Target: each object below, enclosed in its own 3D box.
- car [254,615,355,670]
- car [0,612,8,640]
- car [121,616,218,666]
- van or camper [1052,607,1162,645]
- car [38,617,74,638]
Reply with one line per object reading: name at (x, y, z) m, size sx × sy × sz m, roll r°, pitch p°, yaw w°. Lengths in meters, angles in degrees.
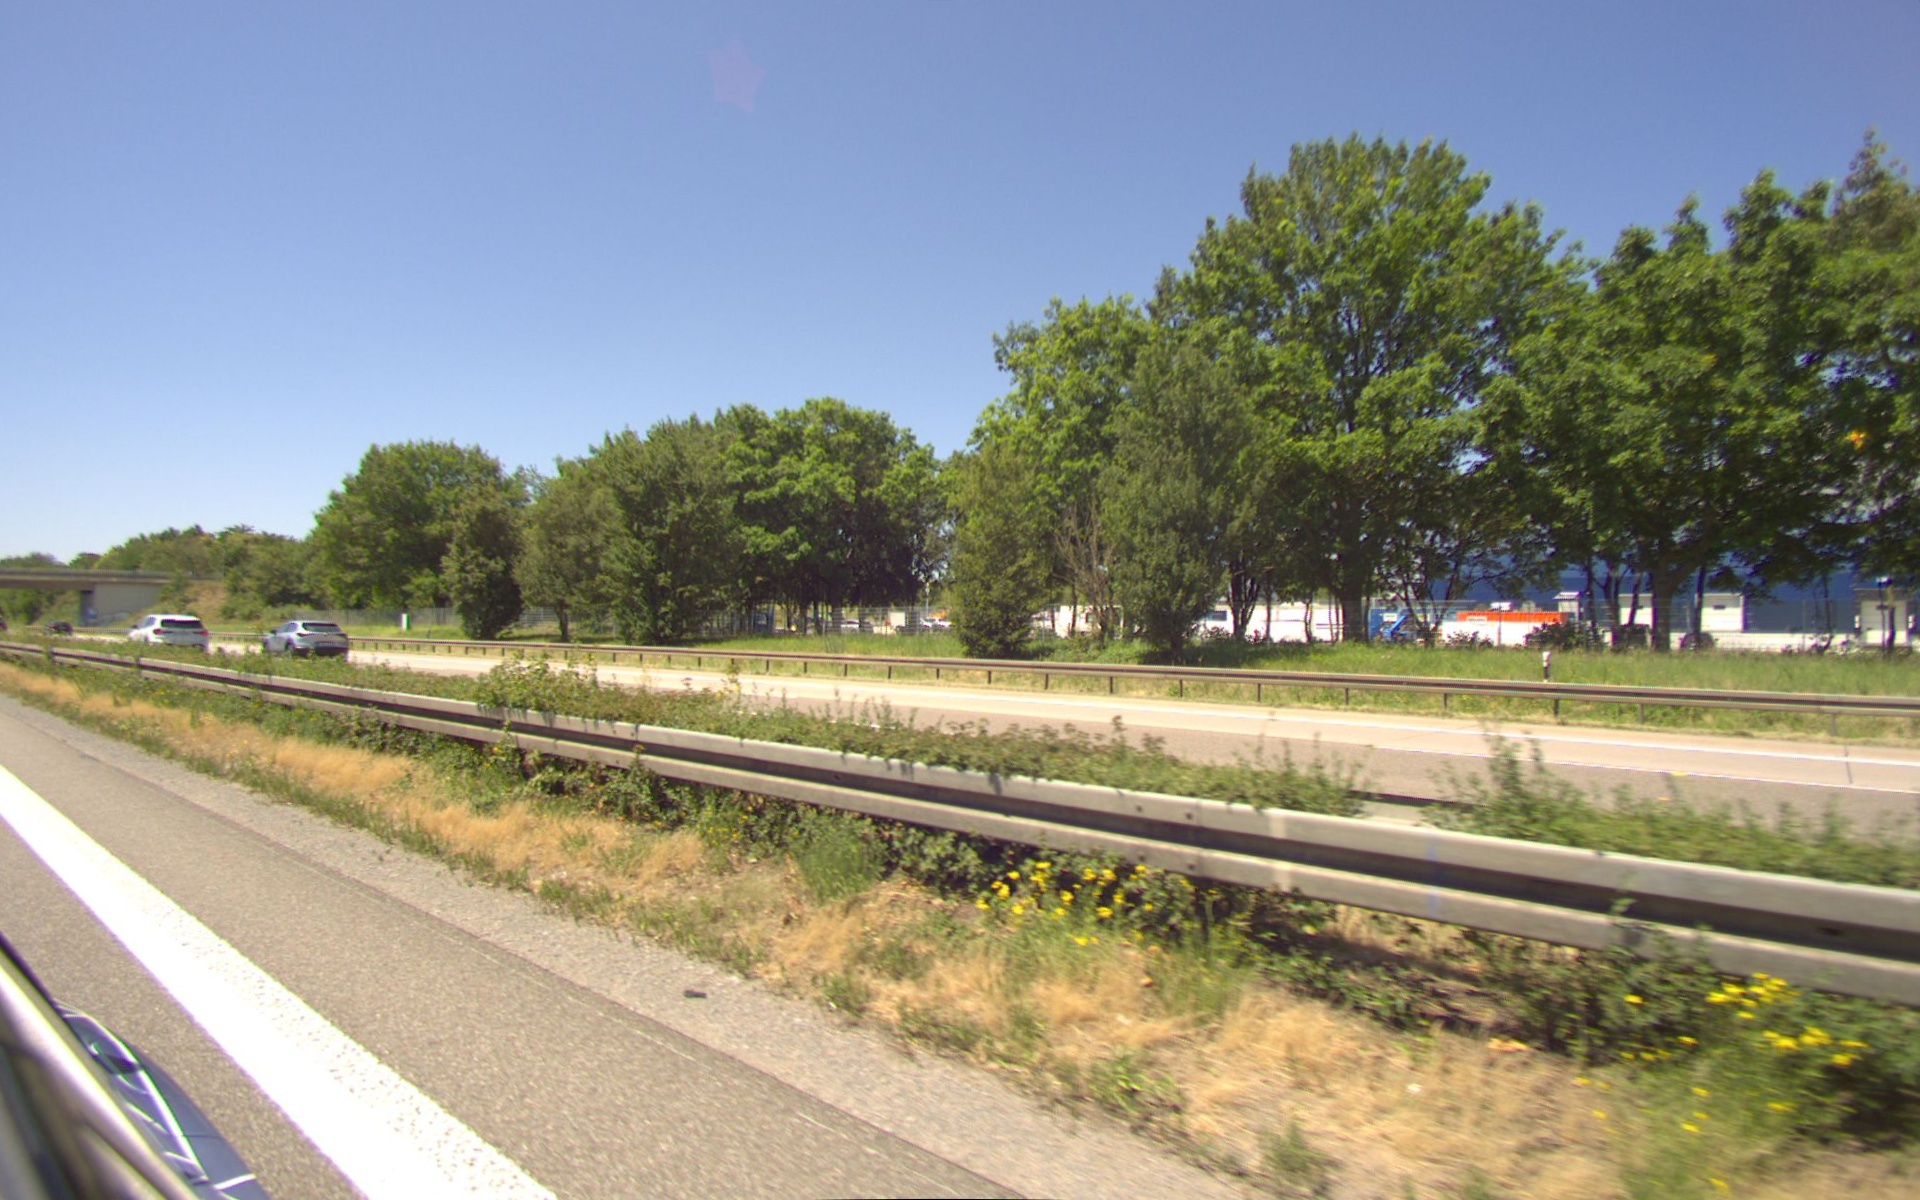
car at (-23.410, 1.459, 36.071) m, size 4.422 × 1.807 × 1.853 m, roll -1°, pitch 1°, yaw 41°
car at (-68.322, 1.823, 70.761) m, size 5.645 × 1.900 × 1.973 m, roll -1°, pitch 1°, yaw 41°
car at (-29.454, 1.472, 37.664) m, size 4.570 × 1.652 × 1.973 m, roll -1°, pitch 1°, yaw 41°
van or camper at (10.398, 1.845, 72.156) m, size 7.718 × 2.571 × 2.333 m, roll -1°, pitch -2°, yaw 39°
car at (-86.602, 2.621, 96.930) m, size 4.269 × 2.029 × 1.973 m, roll -1°, pitch -2°, yaw 40°
